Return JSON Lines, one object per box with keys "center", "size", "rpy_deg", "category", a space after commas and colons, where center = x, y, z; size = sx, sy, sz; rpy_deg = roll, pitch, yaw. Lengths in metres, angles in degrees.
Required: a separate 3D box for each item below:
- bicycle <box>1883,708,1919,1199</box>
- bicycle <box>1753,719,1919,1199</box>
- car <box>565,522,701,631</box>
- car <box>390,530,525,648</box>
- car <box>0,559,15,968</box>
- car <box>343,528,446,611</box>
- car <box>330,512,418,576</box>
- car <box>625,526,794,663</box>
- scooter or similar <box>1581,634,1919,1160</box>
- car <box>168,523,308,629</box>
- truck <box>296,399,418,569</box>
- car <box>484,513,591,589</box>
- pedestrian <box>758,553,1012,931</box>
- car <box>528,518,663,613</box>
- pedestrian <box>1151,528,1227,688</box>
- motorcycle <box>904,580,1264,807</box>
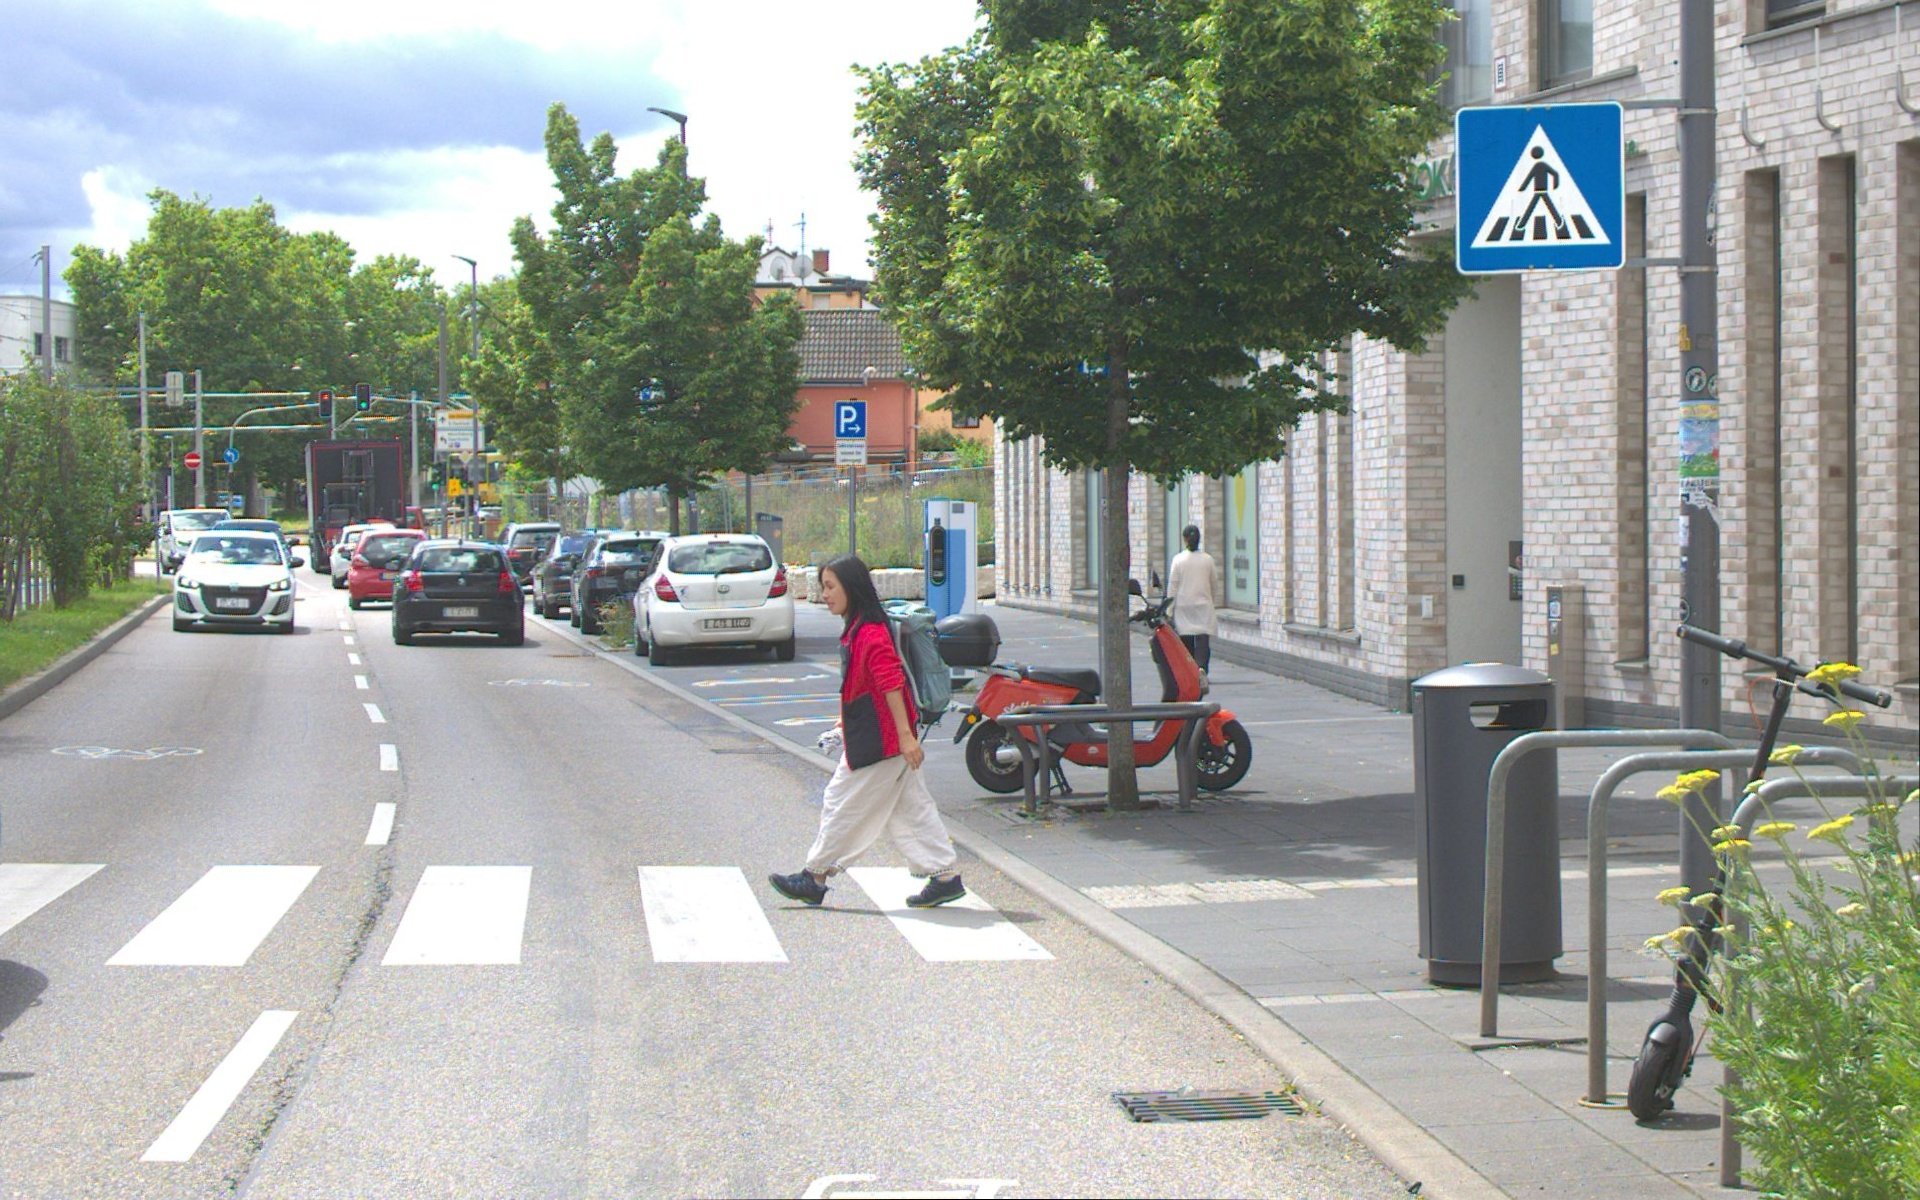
{"center": [2.619, 0.776, 5.911], "size": [1.822, 1.197, 0.756], "rpy_deg": [-1, 1, -3], "category": "bicycle"}
{"center": [2.567, 0.797, 6.706], "size": [1.822, 1.127, 0.756], "rpy_deg": [-1, 1, -3], "category": "bicycle"}
{"center": [-4.823, -0.378, 50.327], "size": [1.692, 1.456, 4.148], "rpy_deg": [-2, 2, -9], "category": "car"}
{"center": [-6.889, -0.188, 46.887], "size": [1.726, 1.451, 3.810], "rpy_deg": [-1, 2, -9], "category": "car"}
{"center": [-4.046, 0.608, 10.284], "size": [1.772, 1.459, 4.235], "rpy_deg": [1, 1, -8], "category": "car"}
{"center": [-10.359, -0.576, 62.835], "size": [1.711, 1.388, 3.810], "rpy_deg": [-1, 2, -11], "category": "car"}
{"center": [-13.969, -1.334, 81.822], "size": [1.887, 1.460, 4.070], "rpy_deg": [-1, 1, -12], "category": "car"}
{"center": [-3.039, -0.104, 41.138], "size": [1.692, 1.478, 3.799], "rpy_deg": [-2, 2, -8], "category": "car"}
{"center": [2.219, 0.719, 8.618], "size": [1.196, 1.245, 0.494], "rpy_deg": [-1, 0, -3], "category": "scooter or similar"}
{"center": [-10.514, -0.382, 50.271], "size": [1.811, 1.464, 3.909], "rpy_deg": [1, 1, -9], "category": "car"}
{"center": [-17.266, -3.182, 97.973], "size": [3.202, 4.520, 9.031], "rpy_deg": [1, 0, -11], "category": "truck"}
{"center": [-8.794, -1.047, 71.316], "size": [1.781, 1.446, 4.477], "rpy_deg": [-2, 2, -12], "category": "car"}
{"center": [-0.331, 0.596, 14.697], "size": [0.927, 1.560, 0.815], "rpy_deg": [1, -1, -12], "category": "pedestrian"}
{"center": [-6.082, -0.600, 56.978], "size": [1.864, 1.446, 4.645], "rpy_deg": [-2, 2, -10], "category": "car"}
{"center": [2.161, 0.069, 32.493], "size": [0.607, 1.467, 0.791], "rpy_deg": [-2, 2, -2], "category": "pedestrian"}
{"center": [0.751, 0.553, 20.562], "size": [2.051, 1.261, 0.672], "rpy_deg": [-2, 0, 8], "category": "motorcycle"}
